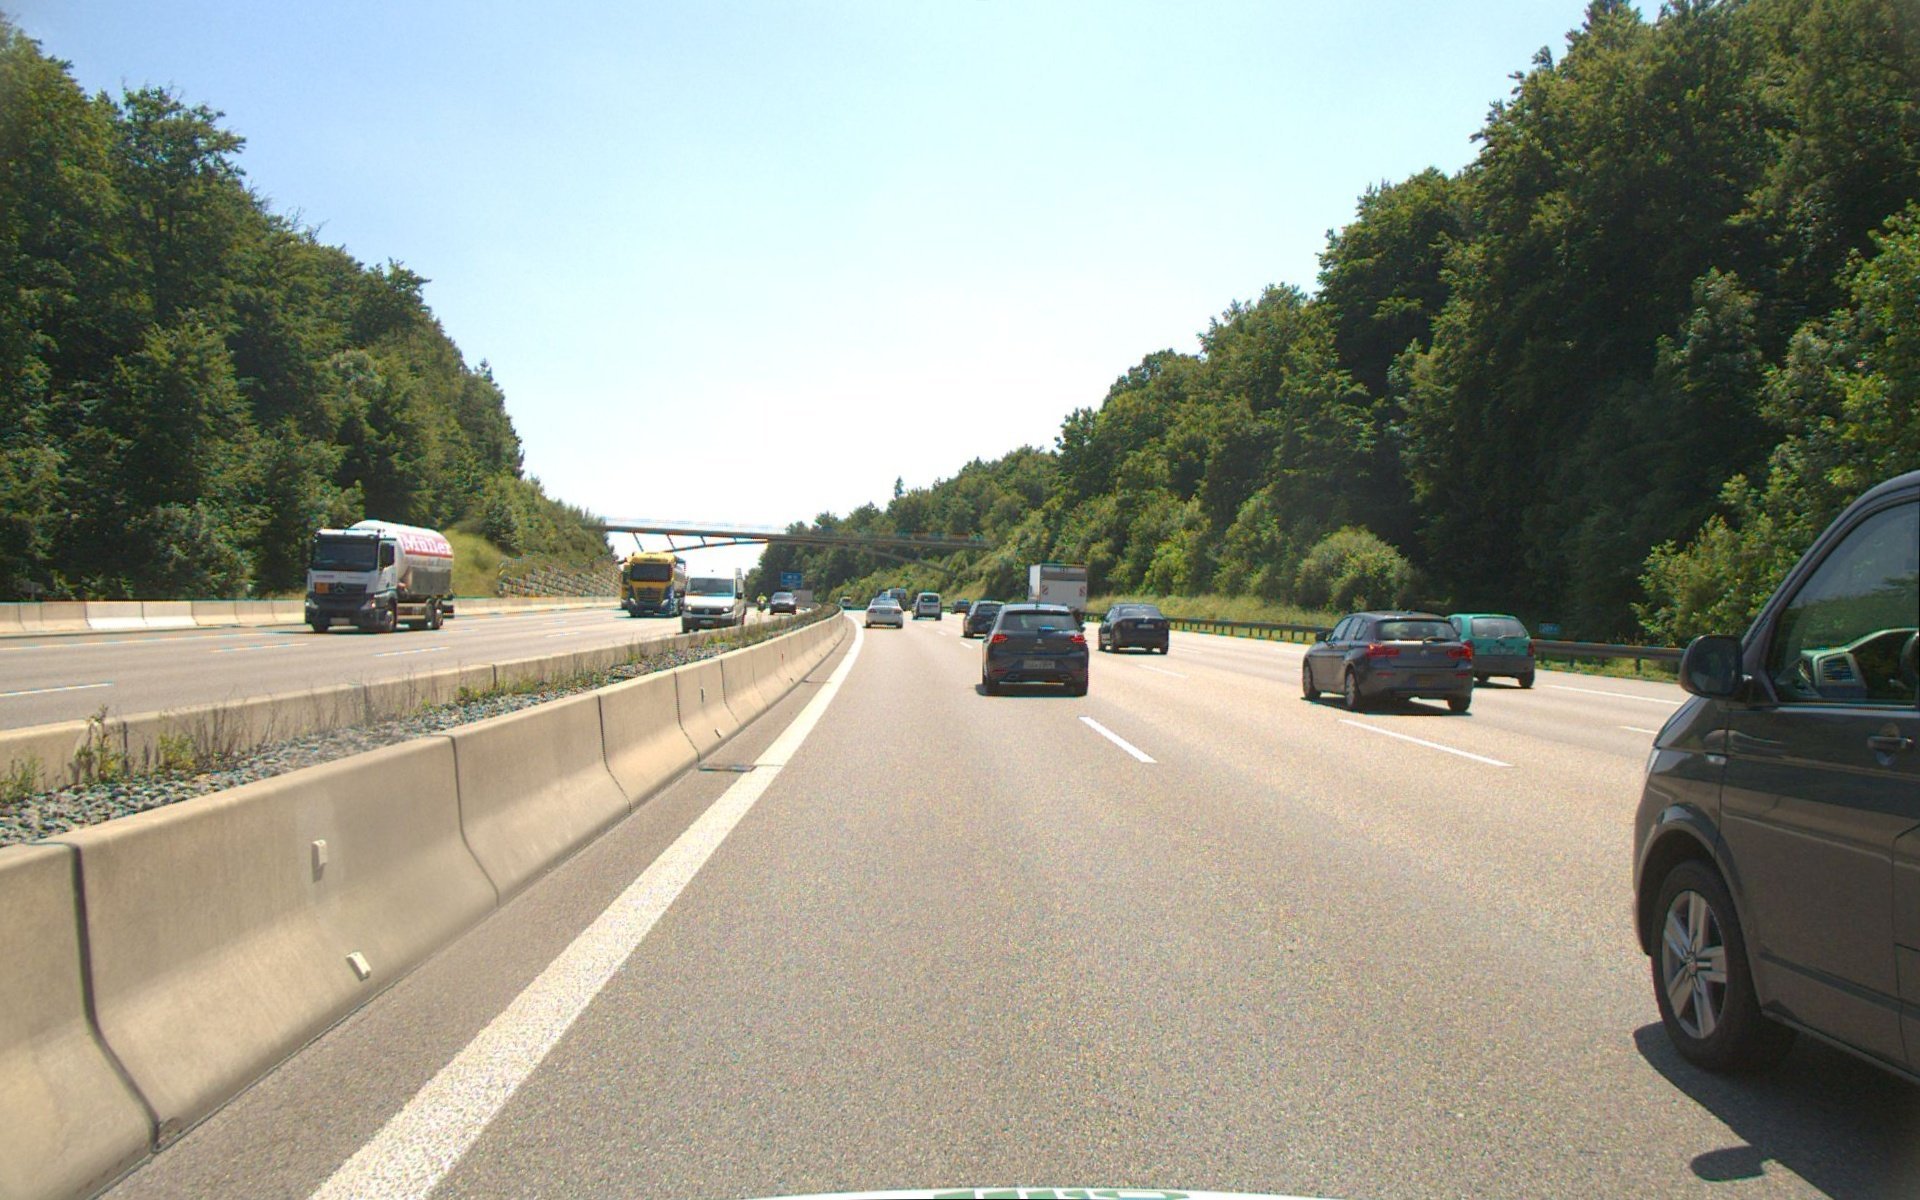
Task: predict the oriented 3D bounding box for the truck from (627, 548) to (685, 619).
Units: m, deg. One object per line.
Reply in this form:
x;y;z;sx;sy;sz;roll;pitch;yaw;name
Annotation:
-17.977;-0.946;98.219;2.480;4.009;6.797;1;0;-3;truck

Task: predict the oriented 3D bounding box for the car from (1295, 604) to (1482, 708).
6.438;0.789;25.283;1.668;1.420;4.152;1;0;-2;car

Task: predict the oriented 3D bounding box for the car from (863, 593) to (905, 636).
-3.729;0.752;82.144;1.971;1.878;3.998;1;-3;-2;car

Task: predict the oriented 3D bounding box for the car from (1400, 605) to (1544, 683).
10.570;0.879;34.450;1.513;1.469;4.339;2;-1;-2;car

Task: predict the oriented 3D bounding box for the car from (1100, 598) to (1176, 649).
5.356;0.672;50.377;1.632;1.433;4.901;1;0;-2;car

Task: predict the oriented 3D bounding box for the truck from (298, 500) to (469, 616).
-19.477;-1.273;56.632;2.557;3.526;9.878;2;0;-2;truck

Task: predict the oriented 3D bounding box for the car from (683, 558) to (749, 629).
-9.314;-0.213;63.533;2.112;2.534;4.697;1;-2;-4;car

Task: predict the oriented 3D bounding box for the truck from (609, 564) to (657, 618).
-25.809;-0.721;130.808;2.696;4.088;6.747;1;0;-3;truck

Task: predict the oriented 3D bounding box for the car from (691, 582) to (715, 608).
-22.209;-0.397;142.991;1.610;2.049;3.997;2;-2;-3;car

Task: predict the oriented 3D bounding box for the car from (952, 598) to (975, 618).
0.347;0.799;165.848;2.102;1.890;3.999;2;0;-2;car

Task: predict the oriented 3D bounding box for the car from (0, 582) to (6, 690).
-14.213;0.456;20.860;1.727;1.508;4.493;2;0;0;car

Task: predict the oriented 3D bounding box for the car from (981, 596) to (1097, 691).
1.276;0.687;28.212;1.673;1.458;3.999;2;0;-1;car

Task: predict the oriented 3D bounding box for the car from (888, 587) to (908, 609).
-7.018;-0.194;187.609;2.220;2.413;4.699;1;-1;-3;car

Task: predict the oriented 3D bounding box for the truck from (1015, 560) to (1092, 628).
4.625;-0.307;83.254;2.926;3.222;7.568;1;0;-4;truck

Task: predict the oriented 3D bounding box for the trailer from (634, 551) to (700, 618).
-18.212;-0.934;103.392;2.487;3.948;11.689;1;0;-3;trailer

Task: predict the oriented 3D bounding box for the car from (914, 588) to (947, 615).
-2.070;0.103;113.900;2.061;1.775;4.685;1;0;-3;car

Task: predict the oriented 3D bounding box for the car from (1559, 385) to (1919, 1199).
3.391;0.503;4.040;1.923;2.069;5.082;1;0;-1;car

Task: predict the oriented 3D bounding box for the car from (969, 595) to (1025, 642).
1.428;0.765;65.571;1.953;1.758;4.147;1;-2;-2;car

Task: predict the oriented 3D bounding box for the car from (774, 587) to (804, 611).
-12.642;-0.086;122.505;1.954;1.735;4.949;1;0;-4;car
